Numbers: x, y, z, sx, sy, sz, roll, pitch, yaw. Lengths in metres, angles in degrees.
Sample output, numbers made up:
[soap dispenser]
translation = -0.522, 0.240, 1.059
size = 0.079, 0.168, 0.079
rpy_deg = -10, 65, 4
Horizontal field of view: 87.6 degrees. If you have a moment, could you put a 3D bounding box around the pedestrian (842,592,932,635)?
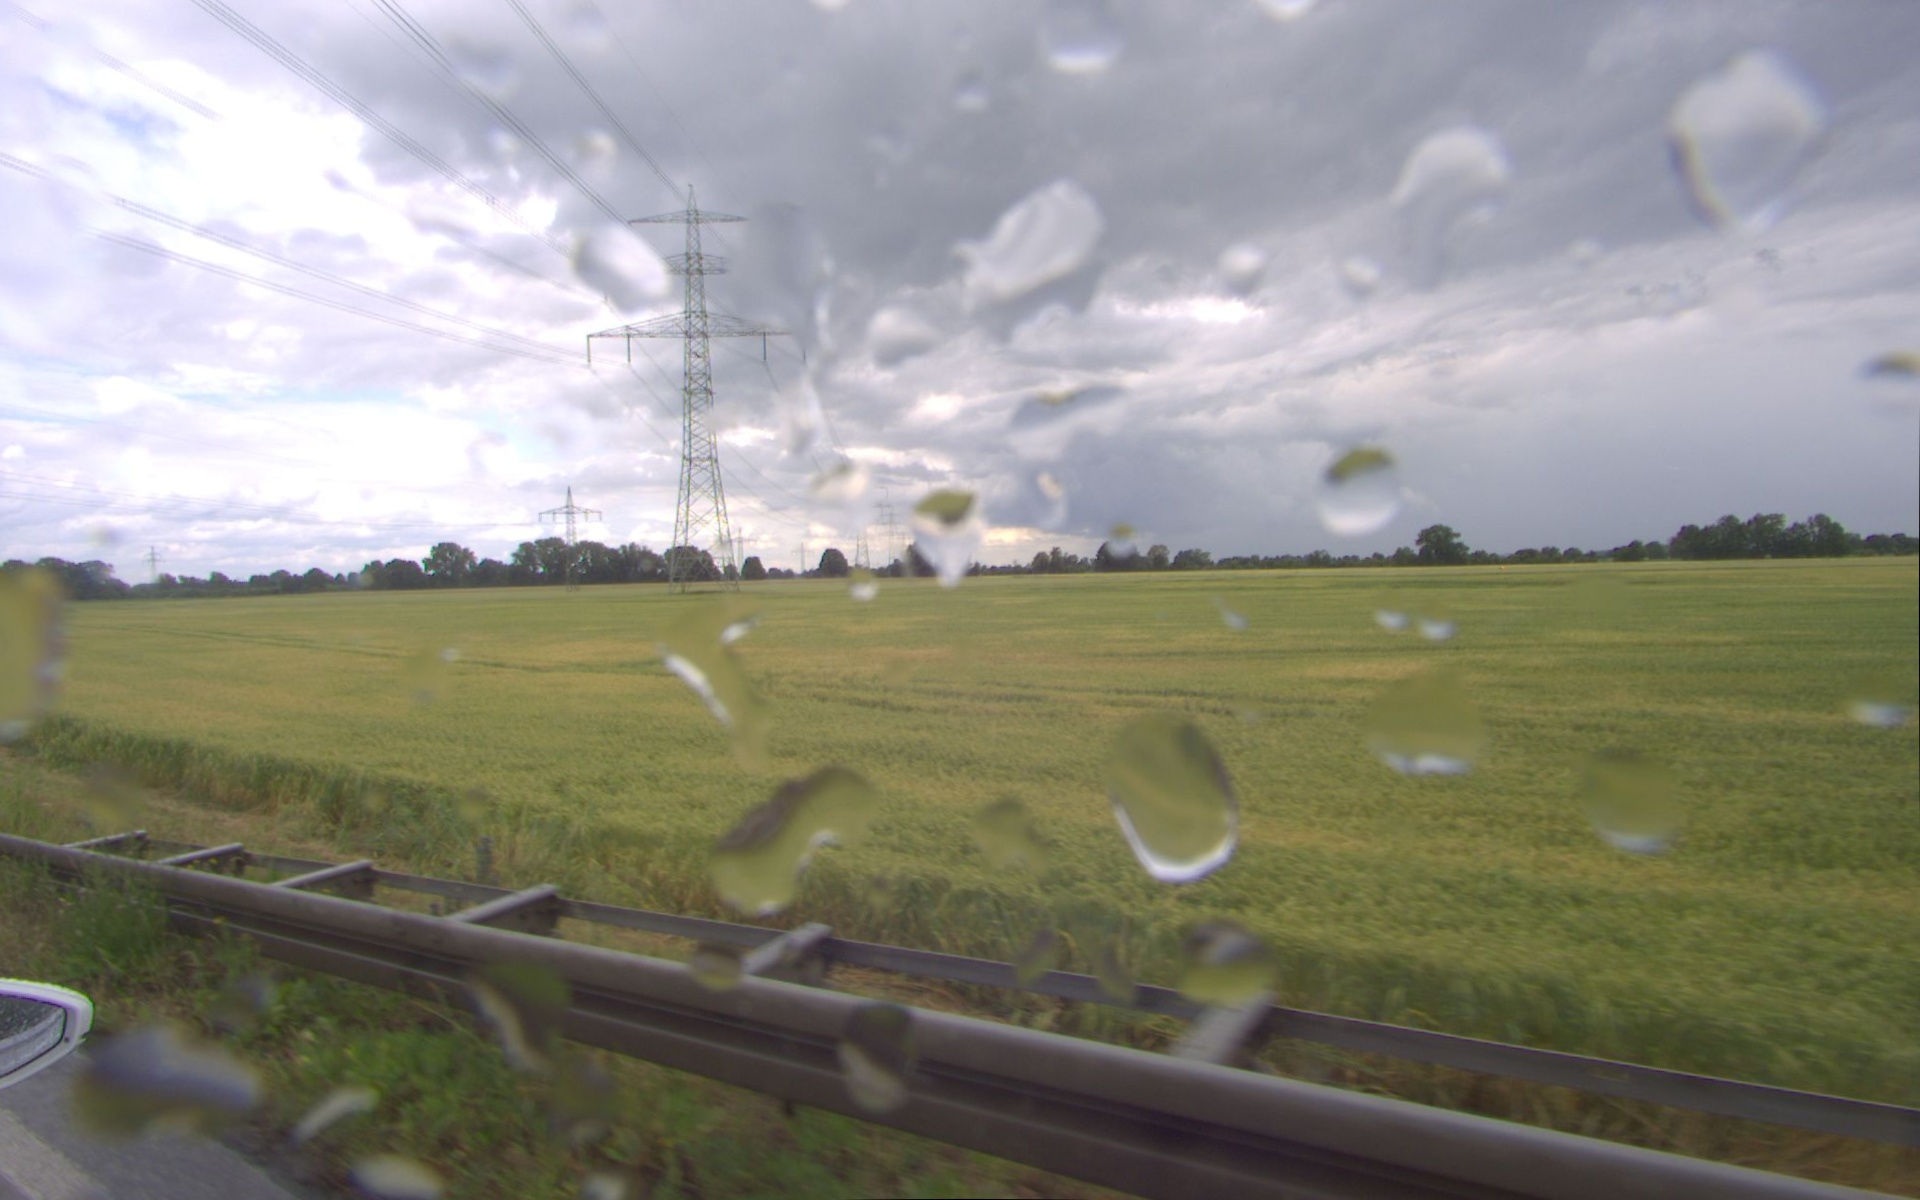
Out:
[pedestrian]
translation = -3.596, 0.695, 49.192
size = 3.938, 2.039, 1.992
rpy_deg = -1, -2, 28
